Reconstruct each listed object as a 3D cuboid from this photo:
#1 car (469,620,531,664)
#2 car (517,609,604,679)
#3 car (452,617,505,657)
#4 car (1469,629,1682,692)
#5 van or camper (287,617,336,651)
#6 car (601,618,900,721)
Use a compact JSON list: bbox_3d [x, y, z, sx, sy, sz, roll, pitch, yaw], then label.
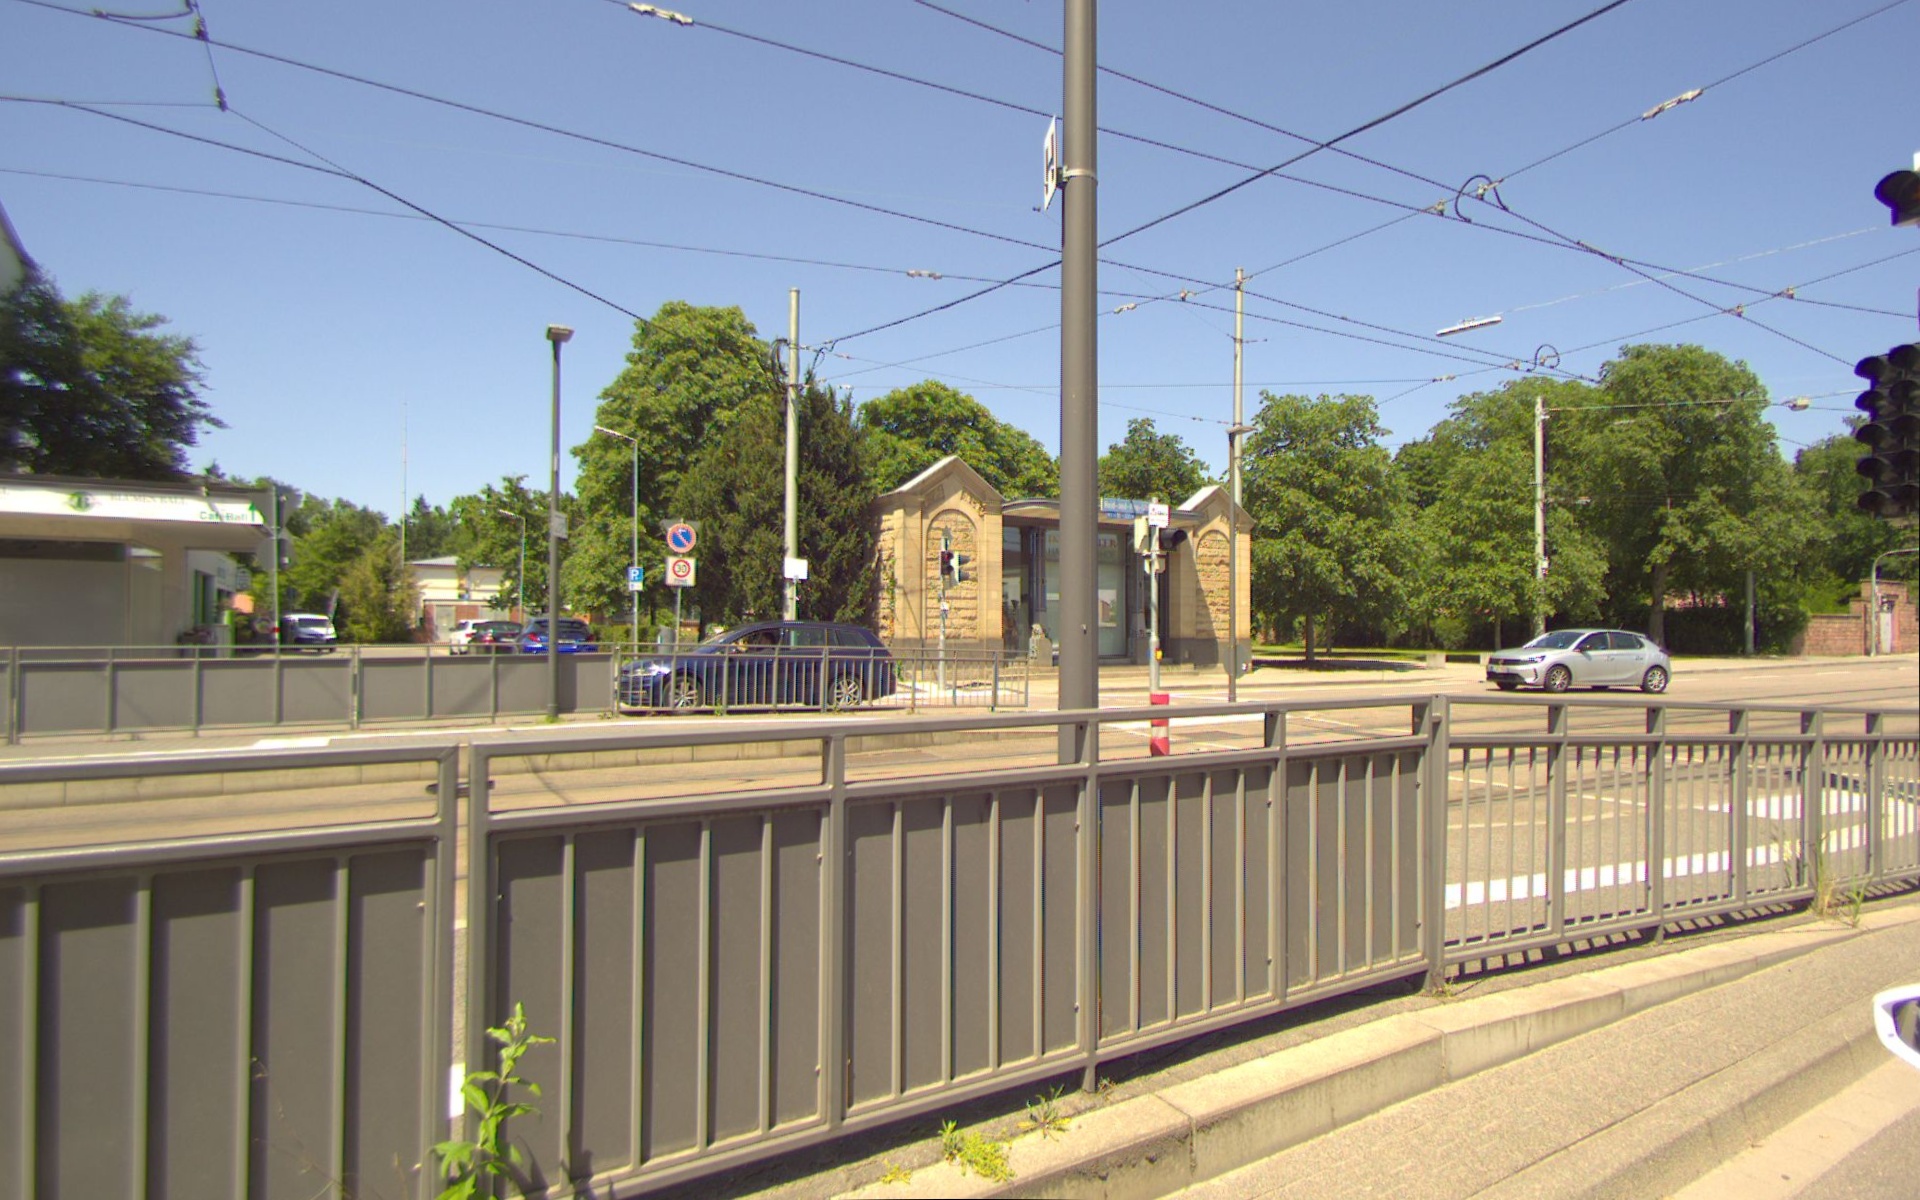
[{"bbox_3d":[-15.587,1.422,33.965,1.624,1.388,3.785,1,-3,-29],"label":"car"},{"bbox_3d":[-9.934,1.017,24.811,1.799,1.472,3.934,1,1,-25],"label":"car"},{"bbox_3d":[-18.911,1.452,39.356,1.625,1.465,3.784,1,-3,-29],"label":"car"},{"bbox_3d":[14.128,1.362,23.155,3.977,1.381,1.821,0,-1,-9],"label":"car"},{"bbox_3d":[-32.200,1.666,49.840,1.676,1.587,3.784,1,-2,-38],"label":"van or camper"},{"bbox_3d":[-3.353,1.046,16.242,4.422,1.461,1.849,1,-1,-28],"label":"car"}]
